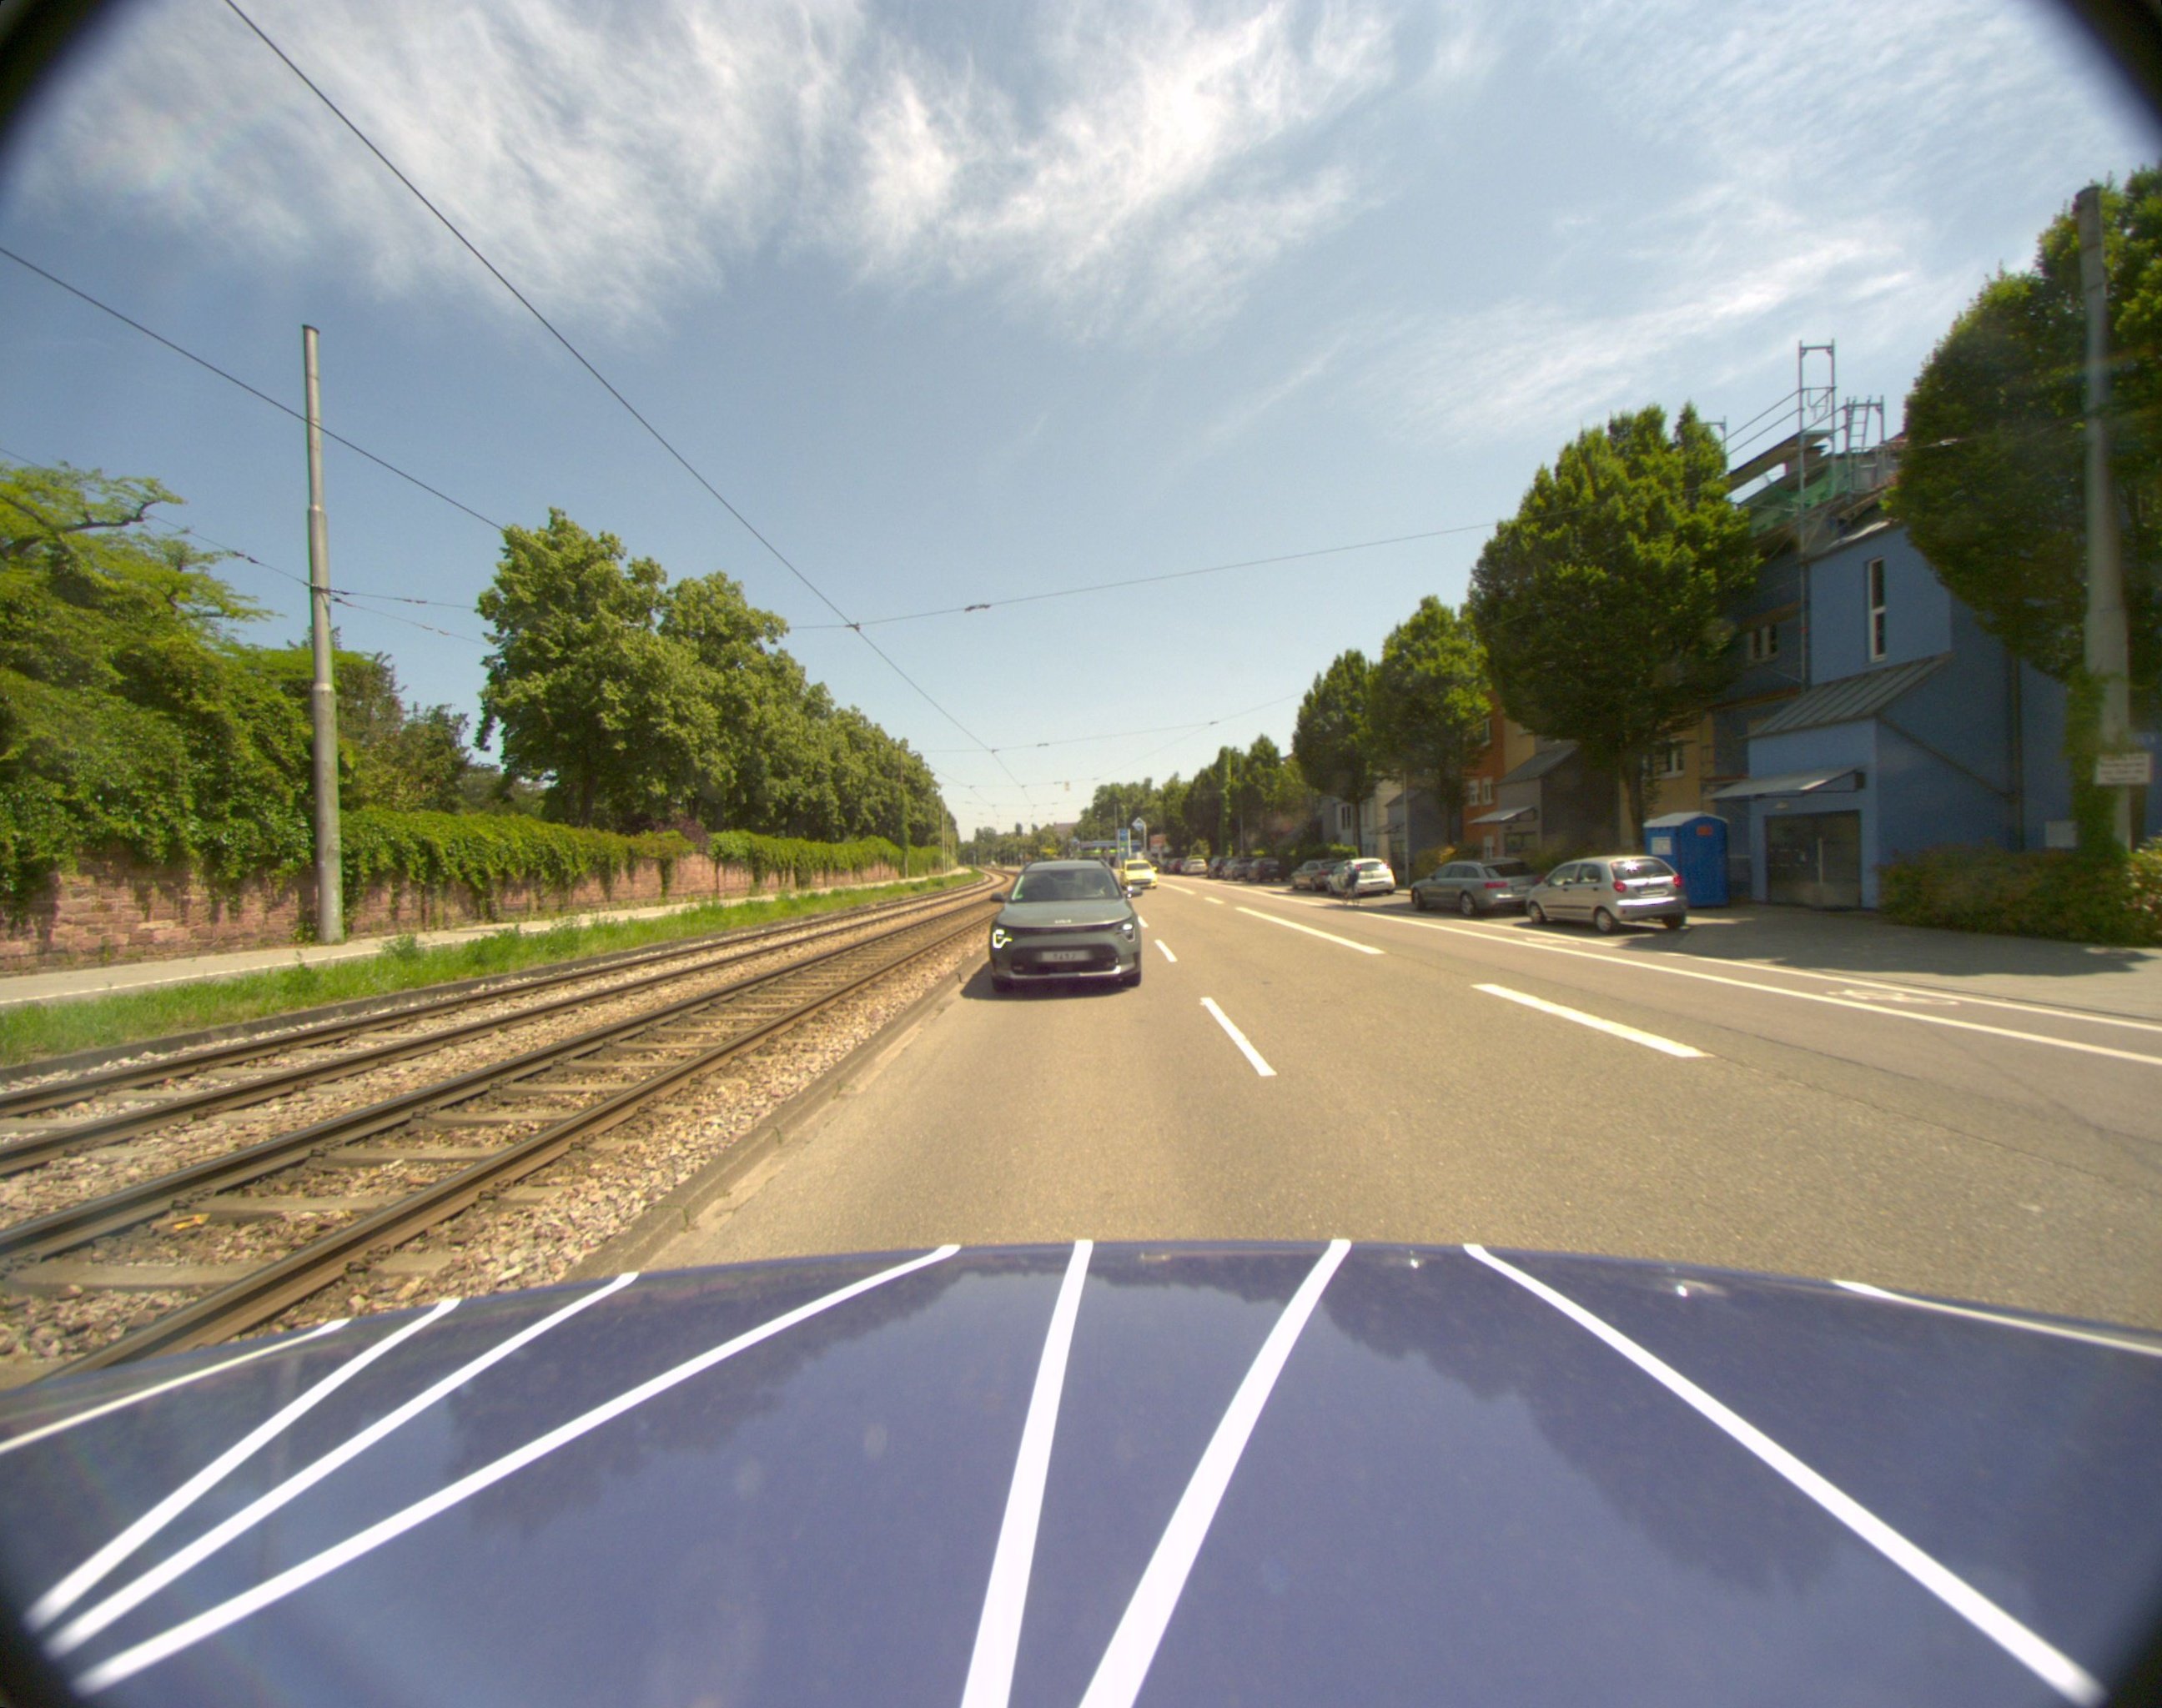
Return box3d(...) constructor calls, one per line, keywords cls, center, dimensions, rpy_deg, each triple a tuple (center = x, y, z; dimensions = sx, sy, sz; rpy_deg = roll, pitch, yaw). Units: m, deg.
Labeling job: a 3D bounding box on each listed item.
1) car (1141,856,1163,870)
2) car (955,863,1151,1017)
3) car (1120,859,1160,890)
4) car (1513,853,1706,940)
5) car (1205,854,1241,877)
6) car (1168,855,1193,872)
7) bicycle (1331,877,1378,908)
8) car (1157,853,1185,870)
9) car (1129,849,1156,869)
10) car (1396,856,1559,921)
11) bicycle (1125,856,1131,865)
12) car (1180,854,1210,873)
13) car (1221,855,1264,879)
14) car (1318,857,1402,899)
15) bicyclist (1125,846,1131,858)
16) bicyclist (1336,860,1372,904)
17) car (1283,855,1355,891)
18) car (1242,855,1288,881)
box3d(cls="car", center=(8.383, 1.072, 90.409), dimensions=(1.870, 1.528, 4.142), rpy_deg=(-3, 0, -4))
box3d(cls="car", center=(-0.205, 0.977, 10.322), dimensions=(2.062, 1.533, 4.001), rpy_deg=(-4, 0, 3))
box3d(cls="car", center=(2.956, 1.026, 38.527), dimensions=(1.695, 1.403, 3.515), rpy_deg=(-3, 0, 0))
box3d(cls="car", center=(11.010, 0.819, 16.144), dimensions=(1.597, 1.487, 3.448), rpy_deg=(-6, 0, 1))
box3d(cls="car", center=(10.974, 0.871, 58.981), dimensions=(1.772, 1.579, 4.147), rpy_deg=(-3, 0, -3))
box3d(cls="car", center=(9.915, 0.938, 76.197), dimensions=(1.604, 1.584, 3.680), rpy_deg=(-3, 0, -6))
box3d(cls="bicycle", center=(9.106, 1.260, 25.416), dimensions=(0.703, 0.945, 2.243), rpy_deg=(1, -1, -2))
box3d(cls="car", center=(9.594, 0.785, 81.406), dimensions=(1.999, 1.783, 4.556), rpy_deg=(-2, 0, -5))
box3d(cls="car", center=(7.768, 0.703, 96.344), dimensions=(2.285, 2.294, 5.226), rpy_deg=(-3, 0, -8))
box3d(cls="car", center=(10.955, 0.897, 21.499), dimensions=(1.791, 1.441, 5.133), rpy_deg=(-6, -1, 0))
box3d(cls="bicycle", center=(5.735, 0.773, 92.826), dimensions=(0.641, 1.089, 1.639), rpy_deg=(1, 1, 1))
box3d(cls="car", center=(10.514, 0.884, 70.304), dimensions=(1.845, 1.573, 4.496), rpy_deg=(-4, 0, -2))
box3d(cls="car", center=(11.223, 0.880, 53.160), dimensions=(1.830, 1.487, 4.757), rpy_deg=(-3, 0, -1))
box3d(cls="car", center=(11.387, 0.914, 31.359), dimensions=(1.750, 1.434, 4.420), rpy_deg=(-6, 0, 0))
box3d(cls="bicyclist", center=(5.746, -0.228, 92.743), dimensions=(0.737, 1.496, 0.737), rpy_deg=(0, 1, 1))
box3d(cls="bicyclist", center=(9.100, 0.921, 25.385), dimensions=(0.737, 1.422, 1.124), rpy_deg=(2, 0, -2))
box3d(cls="car", center=(11.431, 0.879, 36.828), dimensions=(1.708, 1.421, 4.750), rpy_deg=(-6, 0, -3))
box3d(cls="car", center=(11.543, 0.857, 47.869), dimensions=(1.754, 1.424, 4.257), rpy_deg=(-4, 0, 0))
